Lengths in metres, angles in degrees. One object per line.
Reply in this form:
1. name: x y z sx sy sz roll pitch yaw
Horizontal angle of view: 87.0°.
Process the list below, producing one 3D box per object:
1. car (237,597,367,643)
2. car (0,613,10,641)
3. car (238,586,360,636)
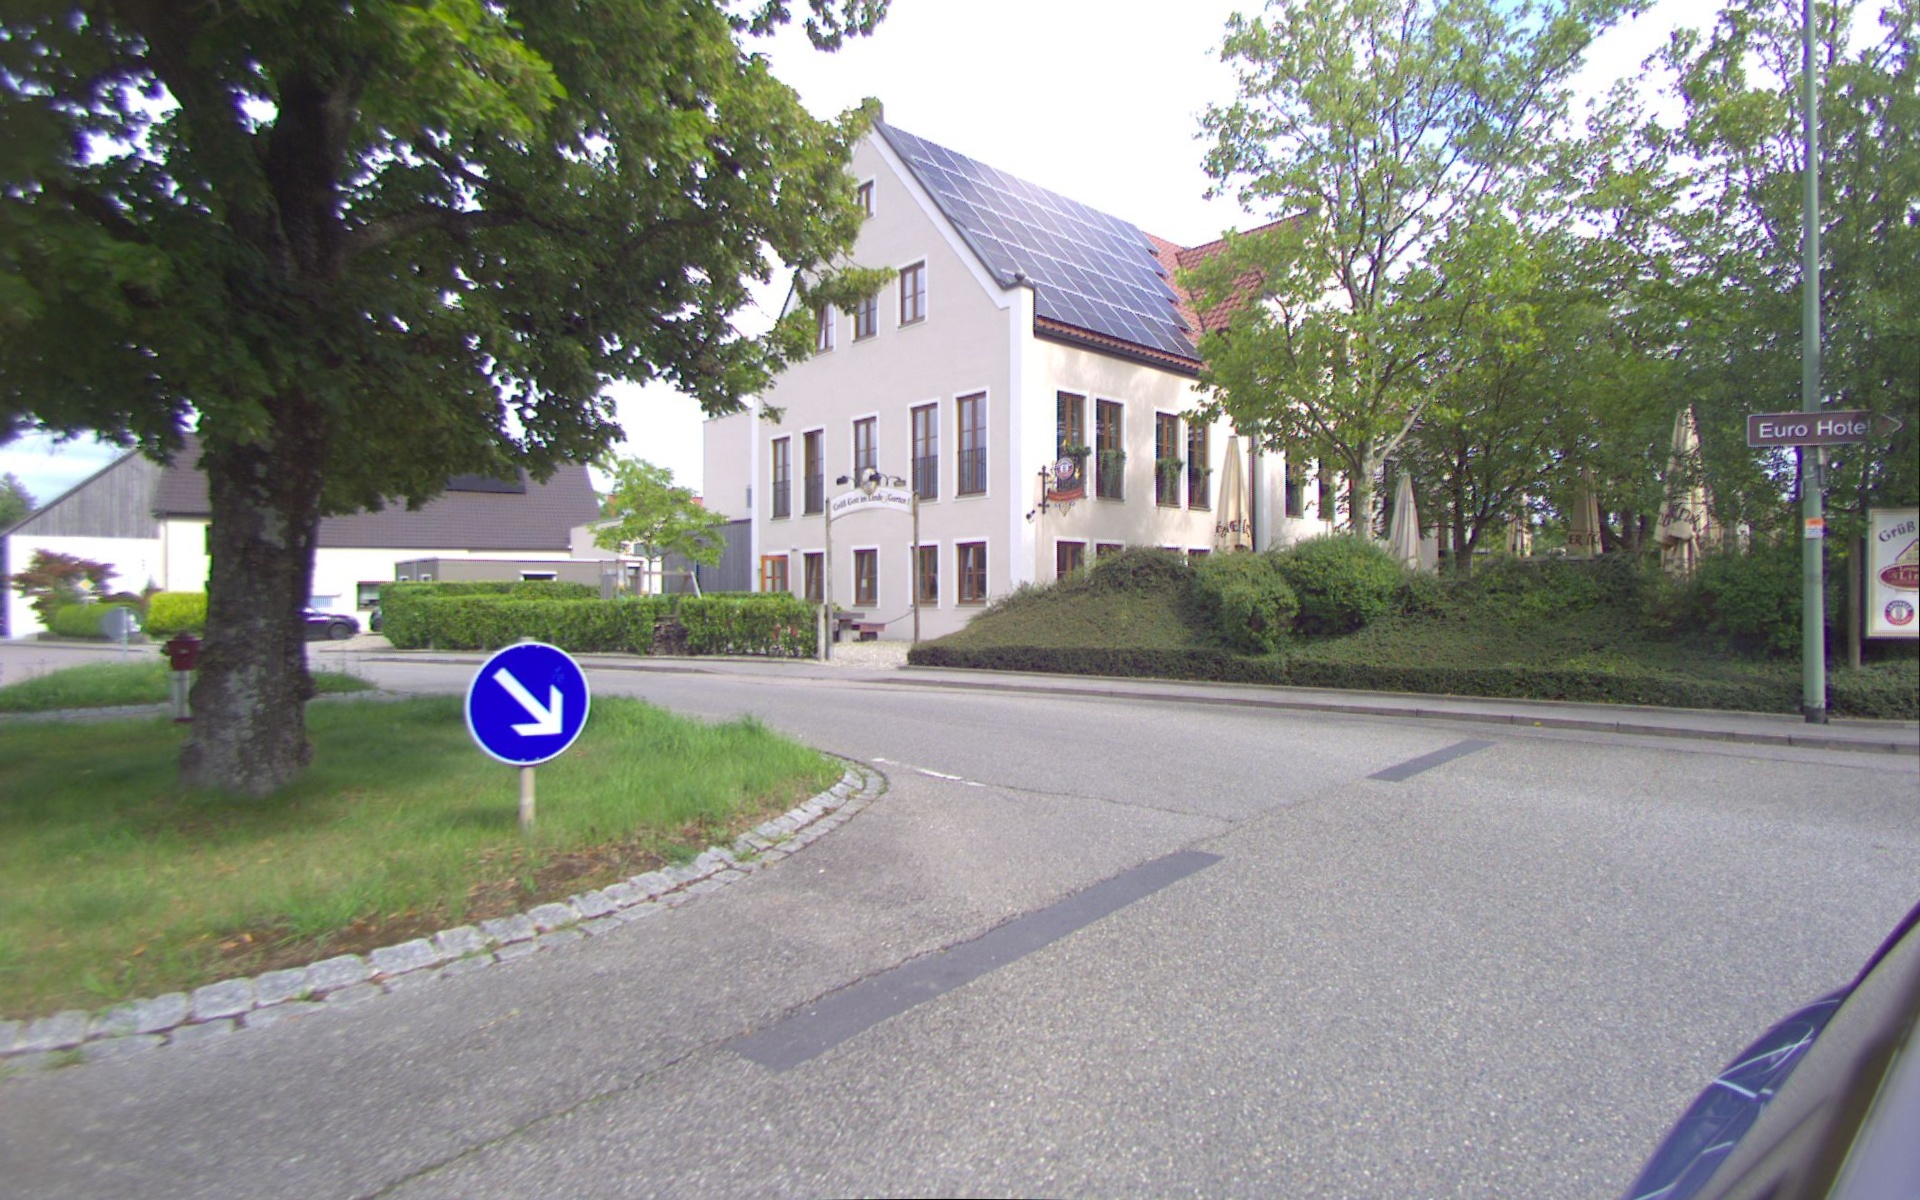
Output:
1. car: -24.445 0.711 37.659 3.839 1.420 1.700 -4 3 -40
2. car: -58.056 1.610 60.495 1.701 1.627 3.993 -1 0 -41
3. car: -25.851 0.386 39.754 3.829 1.719 1.704 -3 3 -29
